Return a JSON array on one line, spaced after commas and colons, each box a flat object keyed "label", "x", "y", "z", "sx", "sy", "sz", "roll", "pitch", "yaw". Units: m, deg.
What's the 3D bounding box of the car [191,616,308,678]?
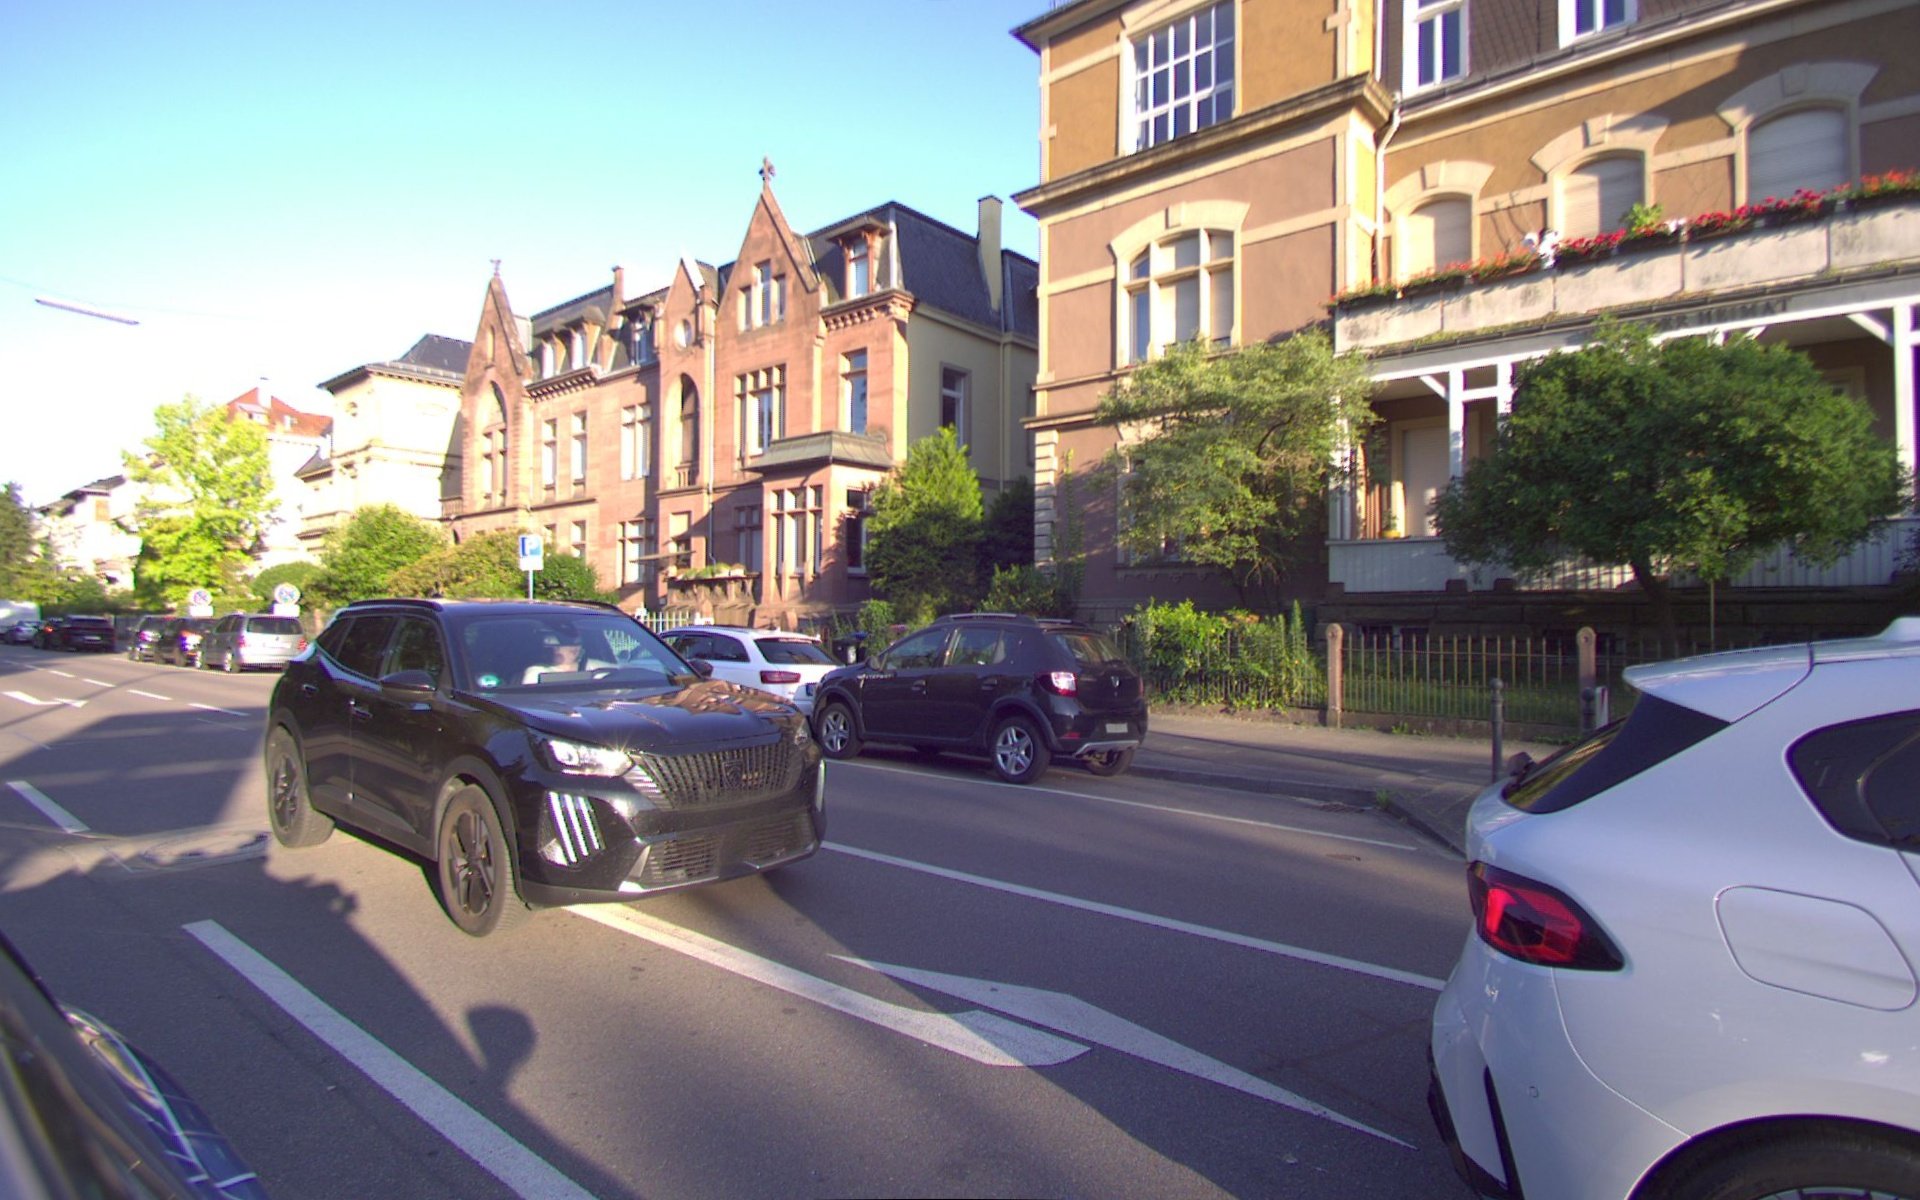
[{"label": "car", "x": -19.758, "y": 1.275, "z": 28.098, "sx": 3.749, "sy": 1.601, "sz": 1.694, "roll": -1, "pitch": -3, "yaw": 39}]

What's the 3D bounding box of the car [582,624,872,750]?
[{"label": "car", "x": -3.298, "y": 1.095, "z": 13.777, "sx": 4.432, "sy": 1.454, "sz": 1.587, "roll": -1, "pitch": -5, "yaw": 43}]

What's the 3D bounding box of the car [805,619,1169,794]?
[{"label": "car", "x": 0.174, "y": 1.024, "z": 10.808, "sx": 3.722, "sy": 1.546, "sz": 1.610, "roll": -1, "pitch": -5, "yaw": 43}]

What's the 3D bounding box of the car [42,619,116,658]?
[{"label": "car", "x": -37.981, "y": 1.639, "z": 43.604, "sx": 3.721, "sy": 1.617, "sz": 1.856, "roll": -1, "pitch": -3, "yaw": 41}]

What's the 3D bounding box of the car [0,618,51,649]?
[{"label": "car", "x": -51.009, "y": 1.805, "z": 55.171, "sx": 3.852, "sy": 1.617, "sz": 1.693, "roll": -1, "pitch": -3, "yaw": 41}]

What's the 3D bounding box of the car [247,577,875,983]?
[{"label": "car", "x": -2.487, "y": 0.734, "z": 5.808, "sx": 3.997, "sy": 1.547, "sz": 1.661, "roll": -1, "pitch": -2, "yaw": 40}]

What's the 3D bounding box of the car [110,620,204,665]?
[{"label": "car", "x": -27.148, "y": 1.416, "z": 34.174, "sx": 3.719, "sy": 1.461, "sz": 1.694, "roll": -1, "pitch": -3, "yaw": 39}]

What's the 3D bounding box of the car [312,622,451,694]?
[{"label": "car", "x": -12.667, "y": 1.223, "z": 22.105, "sx": 3.566, "sy": 1.456, "sz": 1.610, "roll": -1, "pitch": -3, "yaw": 43}]

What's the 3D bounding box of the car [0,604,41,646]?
[{"label": "car", "x": -56.205, "y": 1.501, "z": 59.619, "sx": 5.874, "sy": 2.387, "sz": 2.203, "roll": -1, "pitch": -3, "yaw": 40}]

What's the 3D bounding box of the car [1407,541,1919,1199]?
[{"label": "car", "x": 2.997, "y": 0.651, "z": 1.222, "sx": 4.185, "sy": 1.477, "sz": 1.734, "roll": -1, "pitch": -2, "yaw": 40}]

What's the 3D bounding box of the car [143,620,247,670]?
[{"label": "car", "x": -23.688, "y": 1.370, "z": 31.303, "sx": 3.719, "sy": 1.461, "sz": 1.694, "roll": -1, "pitch": -3, "yaw": 39}]
